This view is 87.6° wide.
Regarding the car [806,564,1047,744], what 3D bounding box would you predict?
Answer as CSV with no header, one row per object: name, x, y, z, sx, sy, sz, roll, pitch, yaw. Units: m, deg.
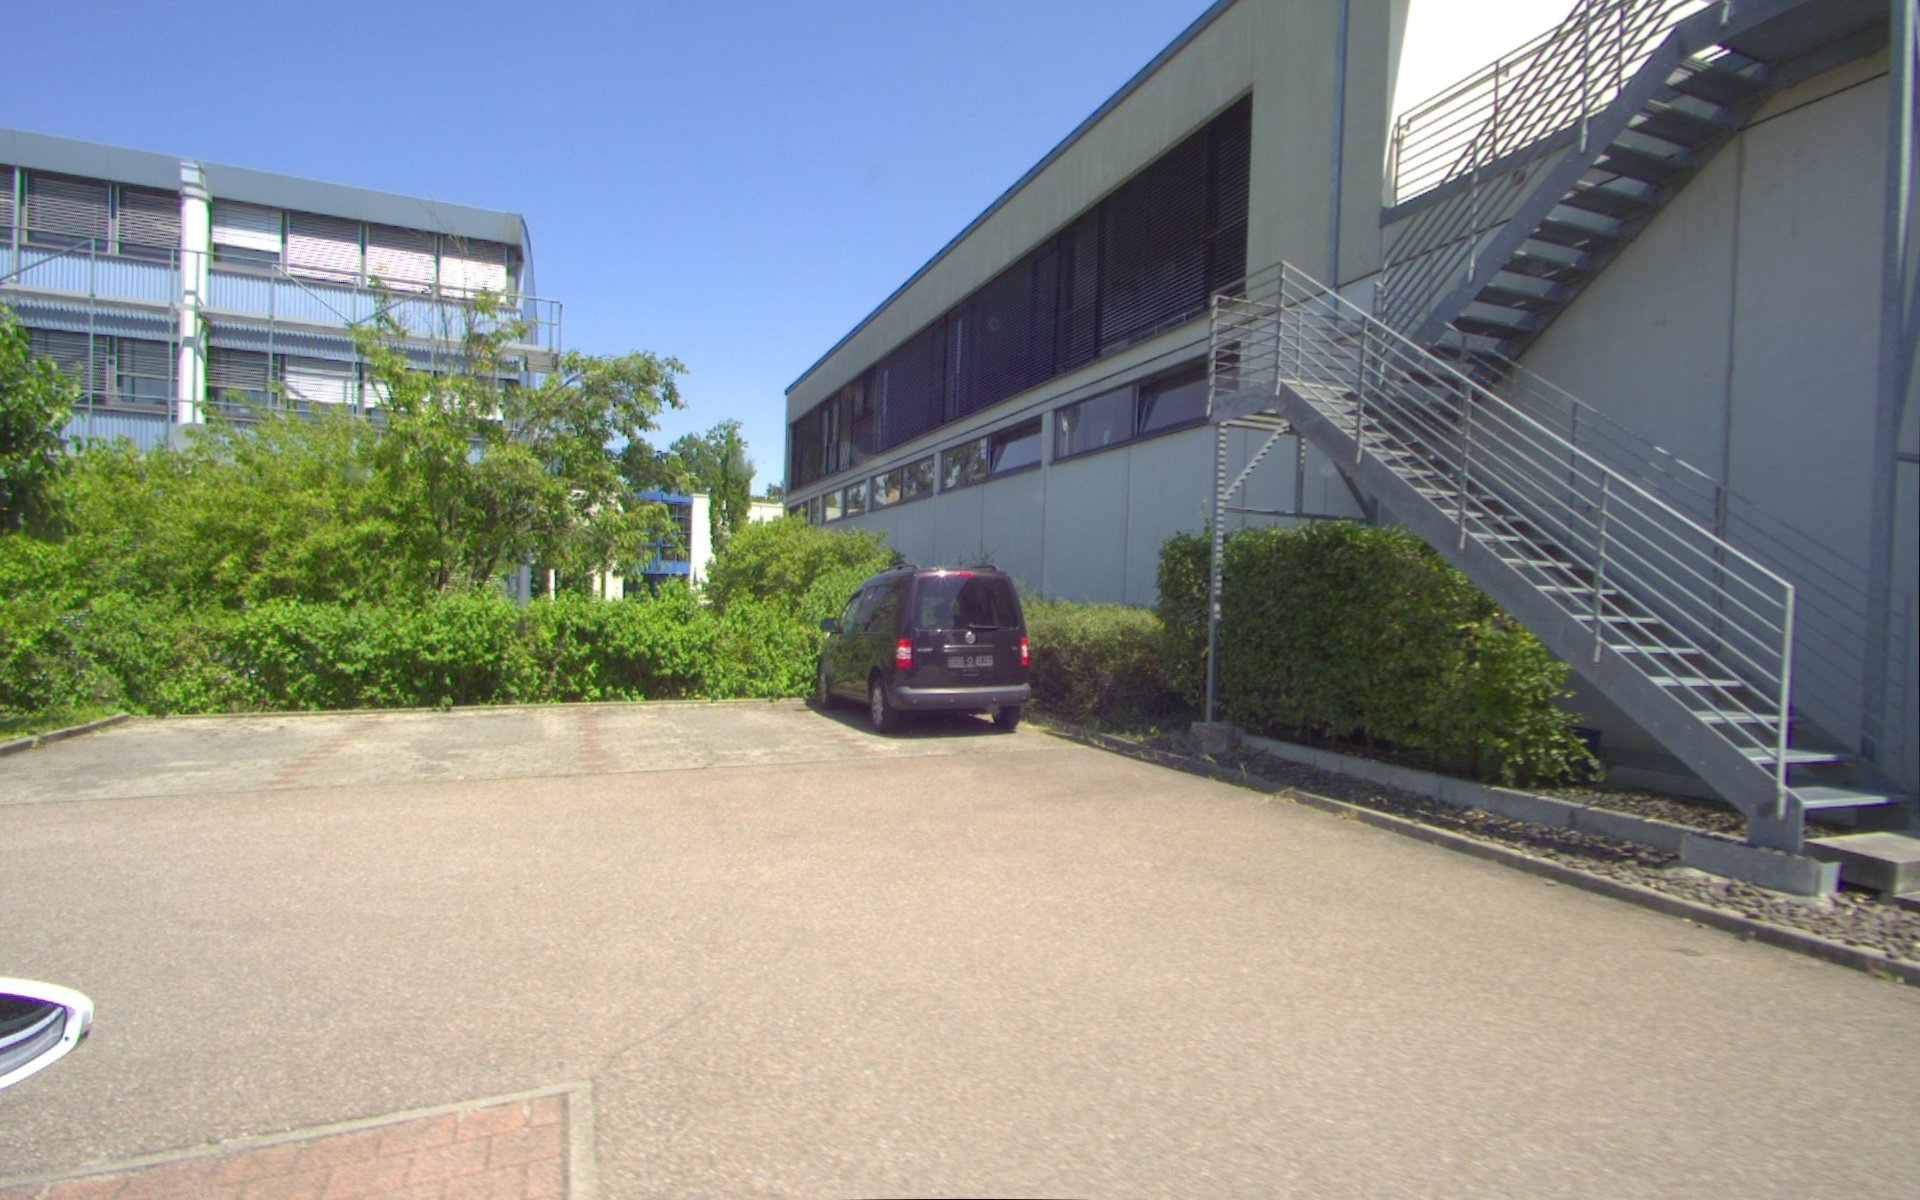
car,-0.603,0.564,12.519,1.720,1.861,3.987,1,0,-22
